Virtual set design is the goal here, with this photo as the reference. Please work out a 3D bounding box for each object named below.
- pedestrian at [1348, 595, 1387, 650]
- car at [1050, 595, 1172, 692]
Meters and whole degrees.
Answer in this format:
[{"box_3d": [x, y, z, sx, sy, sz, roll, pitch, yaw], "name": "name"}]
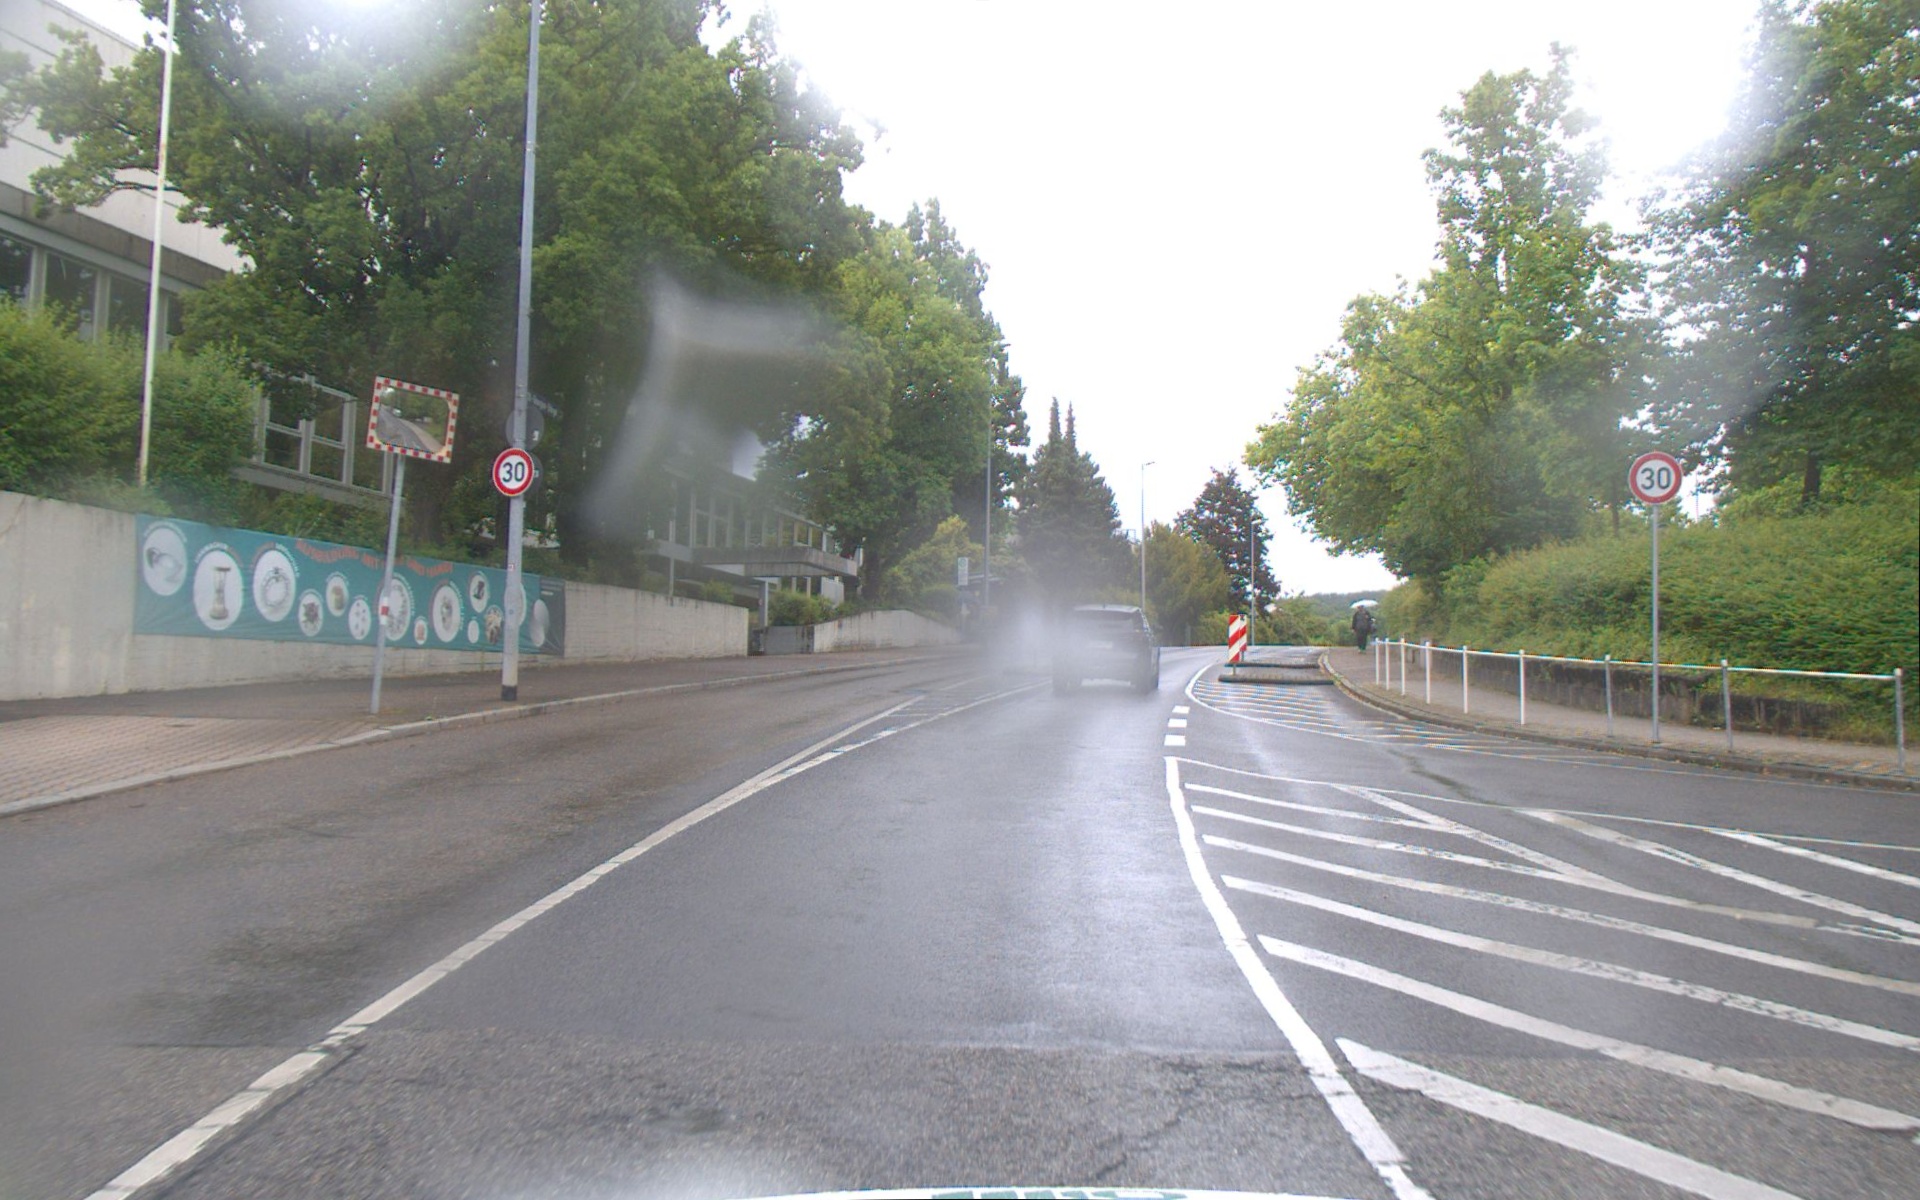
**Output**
[{"box_3d": [13.338, 0.725, 54.189, 1.061, 1.752, 1.167, -2, -1, 8], "name": "pedestrian"}, {"box_3d": [2.929, 0.769, 31.393, 1.887, 1.641, 4.003, 2, 0, 11], "name": "car"}]
